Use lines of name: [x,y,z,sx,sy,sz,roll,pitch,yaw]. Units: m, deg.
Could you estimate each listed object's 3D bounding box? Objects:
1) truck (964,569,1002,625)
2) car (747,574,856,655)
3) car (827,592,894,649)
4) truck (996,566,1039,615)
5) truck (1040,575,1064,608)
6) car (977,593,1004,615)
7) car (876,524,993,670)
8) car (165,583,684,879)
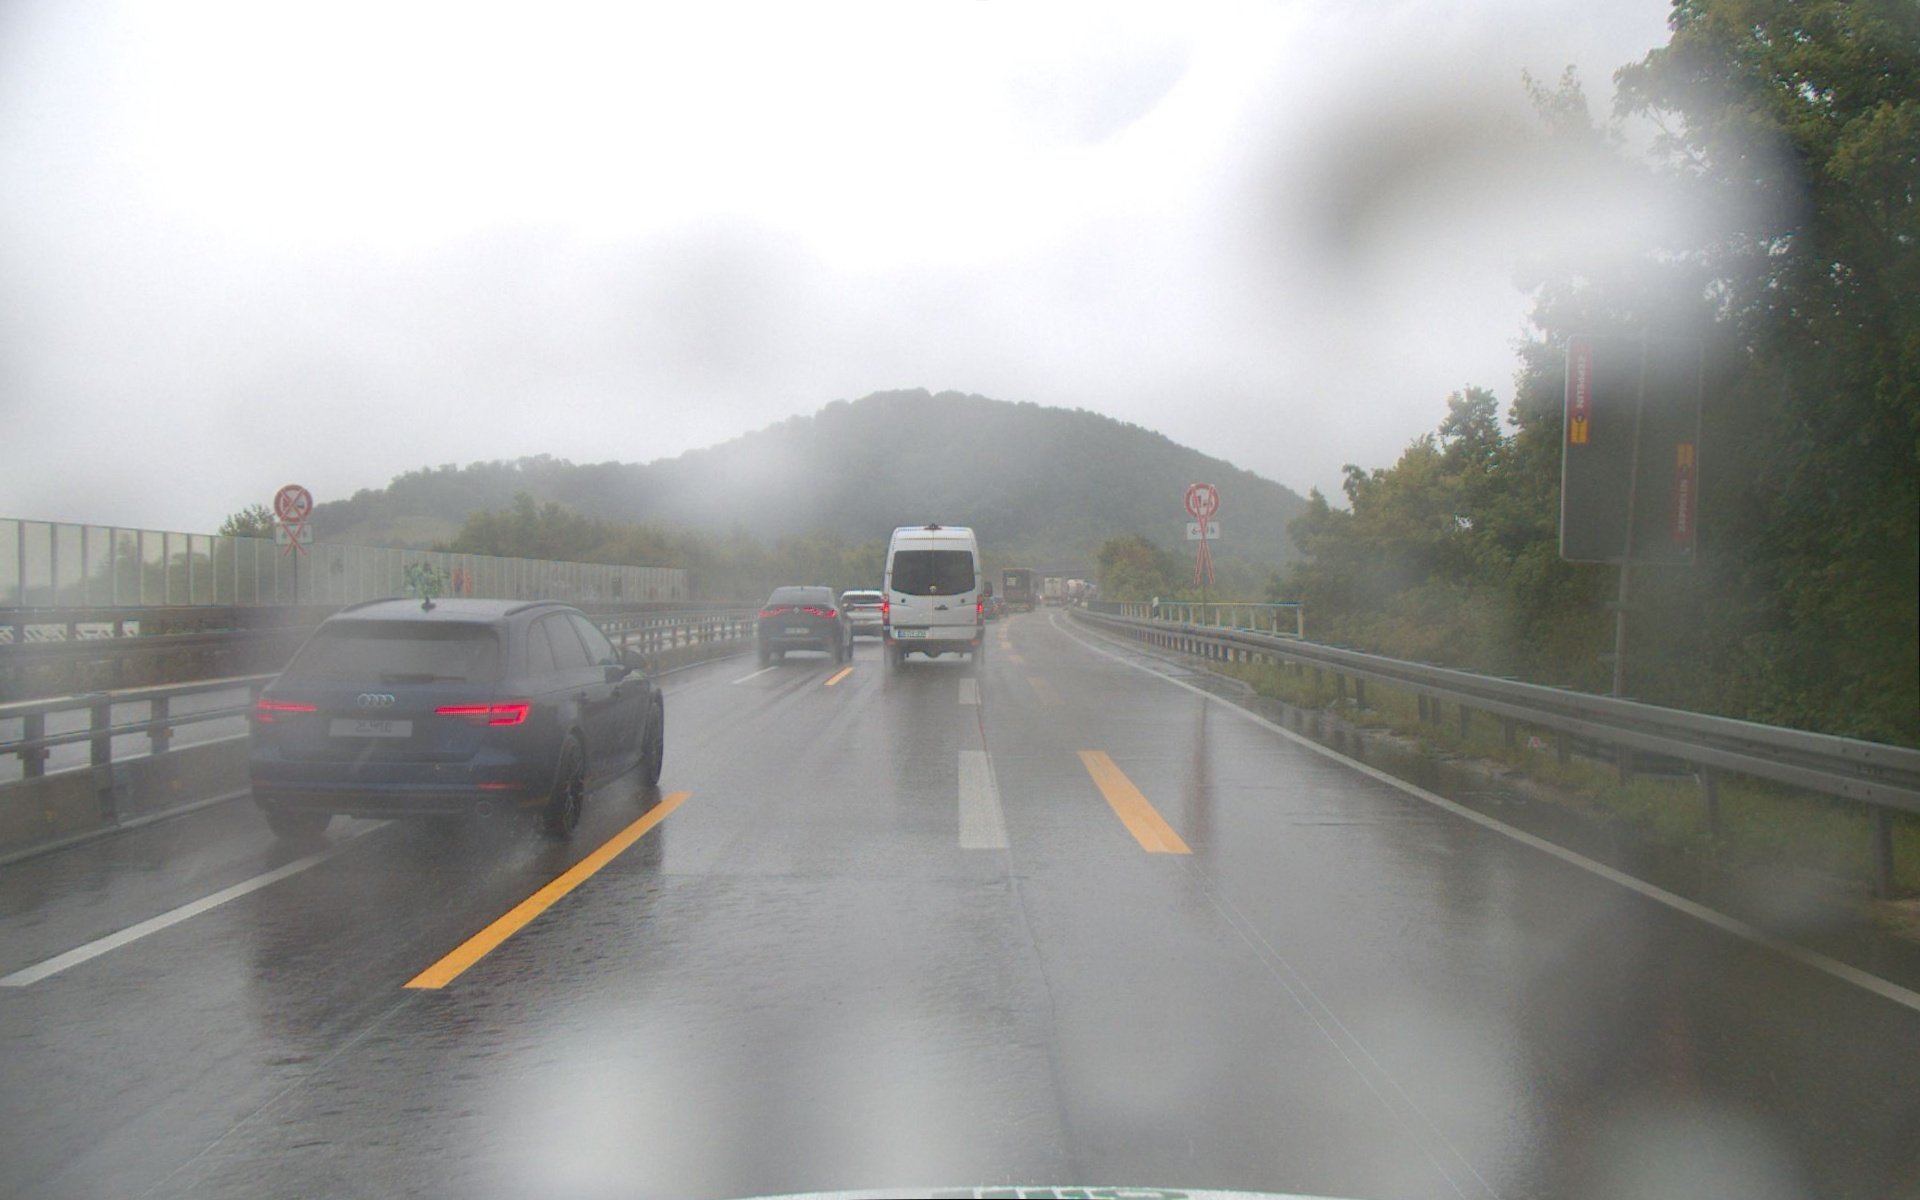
truck: [1.410,-0.136,97.848,1.952,3.163,8.501,1,0,3]
car: [-3.347,0.304,35.722,1.953,1.613,4.413,1,0,-1]
car: [-3.080,0.626,51.446,1.954,1.646,4.793,1,0,-3]
truck: [5.562,-0.866,158.765,3.506,4.483,9.629,1,0,5]
truck: [12.945,-1.175,232.980,2.972,4.483,9.629,1,0,5]
car: [2.191,0.259,116.902,1.736,1.501,4.001,1,0,3]
car: [-0.475,-0.039,32.931,2.101,2.616,5.389,1,0,0]
car: [-3.188,0.702,10.987,1.953,1.524,4.630,1,0,-1]
